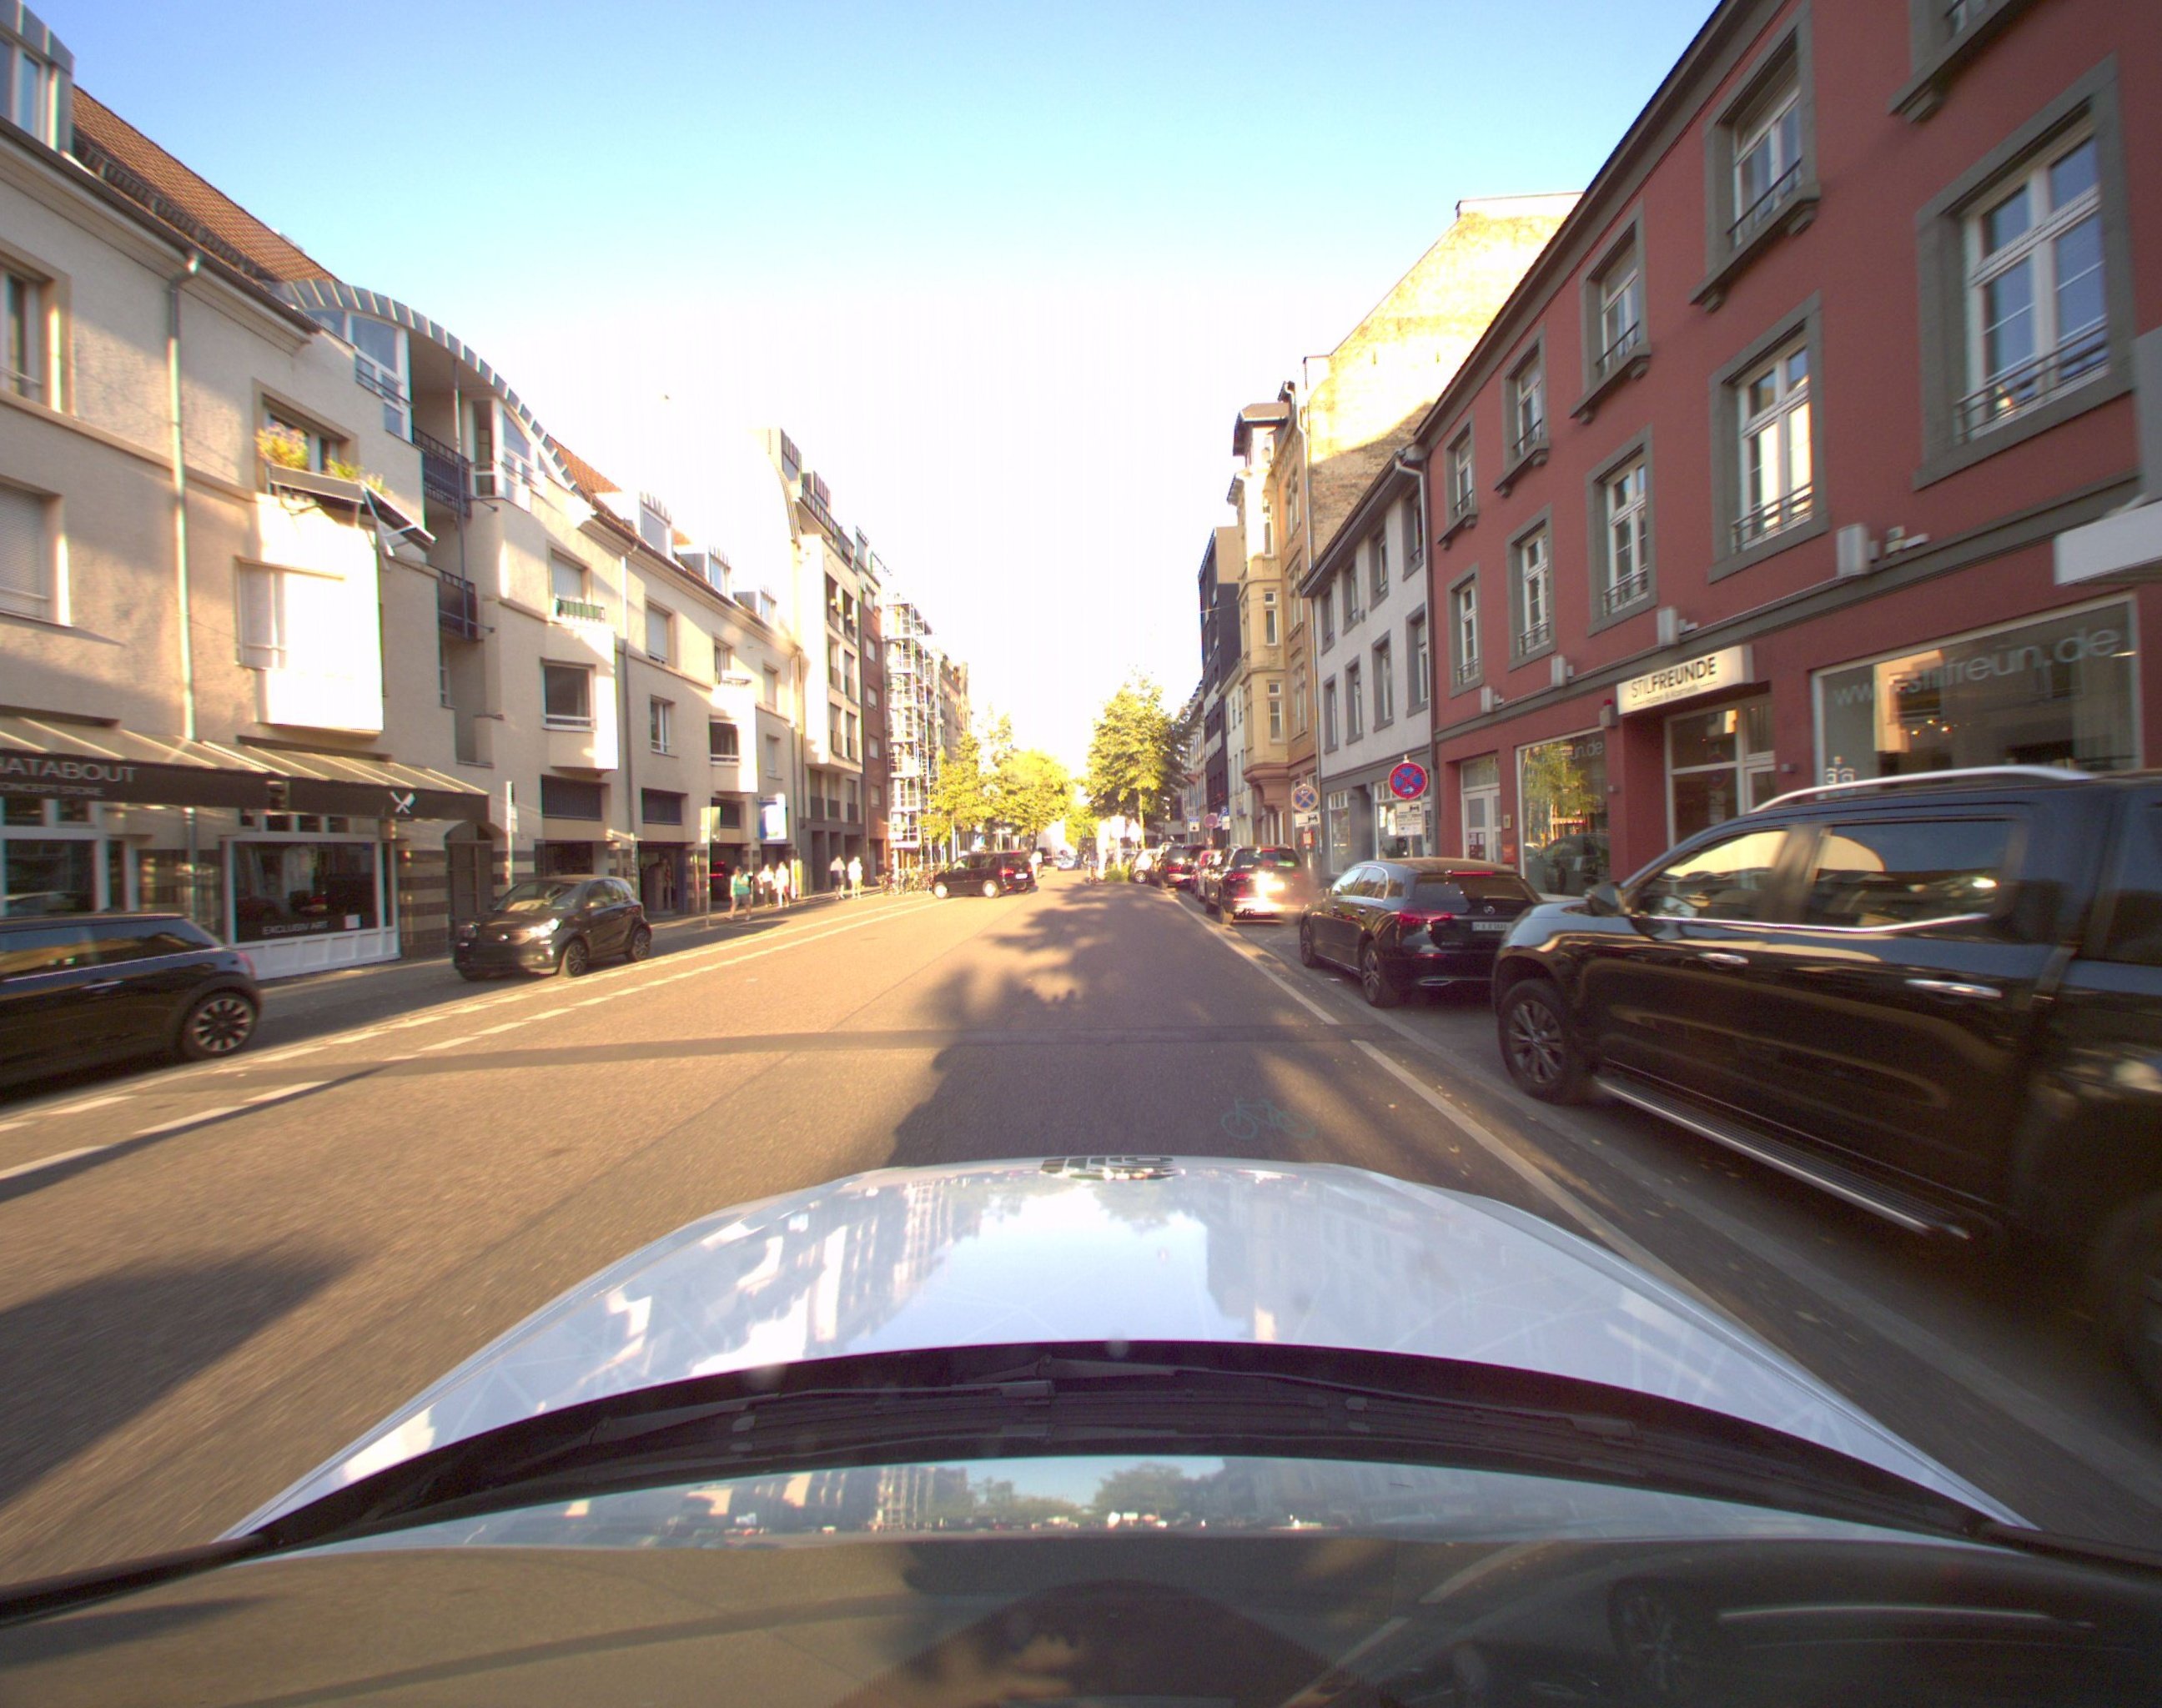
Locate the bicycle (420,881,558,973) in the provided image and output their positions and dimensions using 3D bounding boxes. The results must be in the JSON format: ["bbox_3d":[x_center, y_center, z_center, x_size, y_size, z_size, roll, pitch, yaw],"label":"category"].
[{"bbox_3d":[-10.124,1.197,14.071,0.608,1.375,2.359,-1,0,1],"label":"bicycle"}]

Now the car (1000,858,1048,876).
[{"bbox_3d":[-5.052,1.159,72.620,4.085,1.465,1.891,-1,0,3],"label":"car"}]

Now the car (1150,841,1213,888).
[{"bbox_3d":[3.798,0.382,31.468,1.819,1.695,4.367,-1,0,-1],"label":"car"}]

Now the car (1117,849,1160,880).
[{"bbox_3d":[3.185,0.584,46.013,1.988,1.668,4.507,-1,0,-1],"label":"car"}]

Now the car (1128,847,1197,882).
[{"bbox_3d":[3.682,0.479,37.074,2.961,1.536,1.432,-1,0,-3],"label":"car"}]

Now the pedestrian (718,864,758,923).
[{"bbox_3d":[-9.792,1.105,23.286,0.714,1.641,0.951,-1,0,-1],"label":"pedestrian"}]

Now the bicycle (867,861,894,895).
[{"bbox_3d":[-8.771,1.017,35.722,0.720,1.395,3.146,-1,0,-6],"label":"bicycle"}]

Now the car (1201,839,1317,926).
[{"bbox_3d":[3.787,0.566,17.999,1.804,1.668,4.208,-1,0,2],"label":"car"}]

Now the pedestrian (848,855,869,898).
[{"bbox_3d":[-9.131,0.912,33.441,0.716,1.740,0.737,-1,0,-6],"label":"pedestrian"}]

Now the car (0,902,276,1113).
[{"bbox_3d":[-8.882,1.205,6.205,1.704,1.453,3.727,-1,0,2],"label":"car"}]

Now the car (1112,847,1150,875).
[{"bbox_3d":[3.590,0.498,59.134,2.259,1.766,4.507,4,0,-1],"label":"car"}]

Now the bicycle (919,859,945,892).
[{"bbox_3d":[-6.556,0.919,36.036,0.892,1.395,3.159,-2,0,-6],"label":"bicycle"}]

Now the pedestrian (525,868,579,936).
[{"bbox_3d":[-12.898,1.150,19.862,0.713,1.616,0.856,-1,0,4],"label":"pedestrian"}]

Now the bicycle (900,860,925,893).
[{"bbox_3d":[-7.406,0.944,35.917,0.780,1.373,3.135,-1,0,-6],"label":"bicycle"}]

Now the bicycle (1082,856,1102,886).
[{"bbox_3d":[0.474,0.727,35.029,0.778,1.204,2.020,-3,0,0],"label":"bicycle"}]

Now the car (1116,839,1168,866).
[{"bbox_3d":[4.871,-0.135,64.726,3.967,2.013,2.003,-2,0,6],"label":"car"}]

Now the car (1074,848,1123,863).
[{"bbox_3d":[1.733,0.149,79.671,4.475,1.480,1.871,-1,0,-33],"label":"car"}]

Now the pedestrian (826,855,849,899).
[{"bbox_3d":[-9.785,0.915,32.738,0.716,1.767,0.693,-1,0,-6],"label":"pedestrian"}]

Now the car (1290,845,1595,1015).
[{"bbox_3d":[3.741,0.679,9.352,1.755,1.483,4.309,-1,0,3],"label":"car"}]

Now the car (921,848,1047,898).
[{"bbox_3d":[-3.589,0.708,29.715,4.451,1.602,2.012,-4,-3,40],"label":"car"}]

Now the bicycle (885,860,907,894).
[{"bbox_3d":[-8.100,0.968,35.814,0.584,1.395,3.154,-1,0,-6],"label":"bicycle"}]

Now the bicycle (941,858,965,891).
[{"bbox_3d":[-5.665,0.865,36.151,0.843,1.350,3.180,-2,0,-6],"label":"bicycle"}]

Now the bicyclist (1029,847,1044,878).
[{"bbox_3d":[-2.751,0.532,50.353,0.778,1.829,1.007,-3,0,-1],"label":"bicyclist"}]

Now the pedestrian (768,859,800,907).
[{"bbox_3d":[-10.357,1.015,28.417,0.713,1.641,0.856,-1,0,6],"label":"pedestrian"}]

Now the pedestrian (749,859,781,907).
[{"bbox_3d":[-11.072,1.017,28.546,0.713,1.641,0.857,-1,0,6],"label":"pedestrian"}]

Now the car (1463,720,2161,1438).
[{"bbox_3d":[3.586,0.545,3.137,1.877,1.754,5.059,-1,0,0],"label":"car"}]

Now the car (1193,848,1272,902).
[{"bbox_3d":[4.164,0.537,22.870,1.660,1.378,3.805,-1,0,2],"label":"car"}]

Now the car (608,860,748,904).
[{"bbox_3d":[-15.688,1.073,31.821,4.474,1.601,2.003,-1,0,4],"label":"car"}]

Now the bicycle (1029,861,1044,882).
[{"bbox_3d":[-2.736,1.085,50.346,0.778,1.204,2.020,-3,0,0],"label":"bicycle"}]

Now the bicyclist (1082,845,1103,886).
[{"bbox_3d":[0.488,0.475,34.842,0.778,1.696,1.007,-3,0,-1],"label":"bicyclist"}]

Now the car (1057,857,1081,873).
[{"bbox_3d":[-1.054,0.972,72.794,1.830,1.441,4.335,0,0,3],"label":"car"}]

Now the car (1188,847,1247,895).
[{"bbox_3d":[4.432,0.525,26.814,1.580,1.483,3.270,-1,0,4],"label":"car"}]

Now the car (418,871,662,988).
[{"bbox_3d":[-8.474,1.101,13.125,1.786,1.535,3.188,-1,0,-1],"label":"car"}]
